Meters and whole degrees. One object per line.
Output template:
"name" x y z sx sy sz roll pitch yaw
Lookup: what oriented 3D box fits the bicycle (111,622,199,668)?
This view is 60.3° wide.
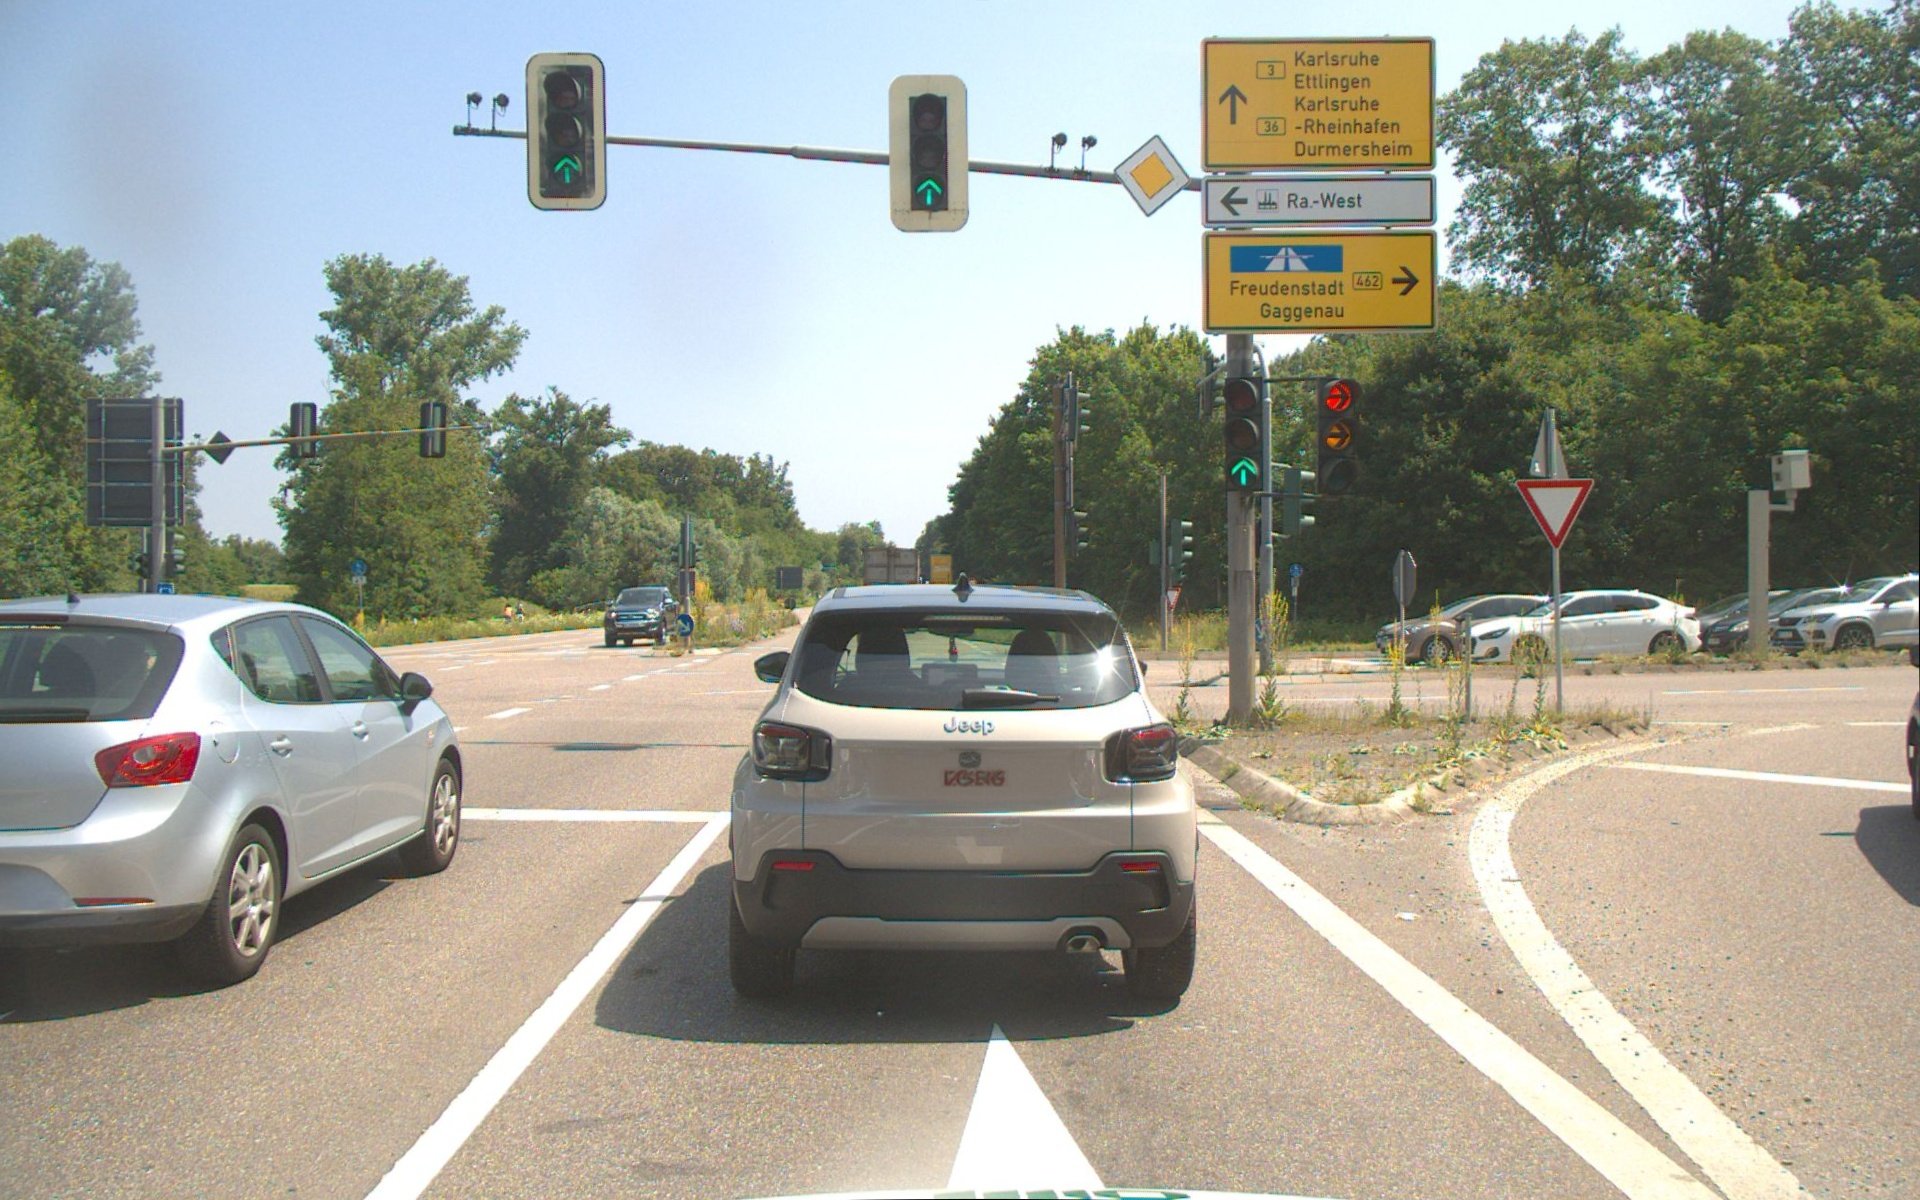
"bicycle" -20.120 1.116 41.371 0.710 1.082 1.863 -1 0 35

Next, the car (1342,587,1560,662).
"car" 10.403 0.505 35.215 4.011 1.472 1.994 -1 0 -4

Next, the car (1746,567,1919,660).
"car" 17.674 0.230 31.864 4.088 1.688 1.999 -1 0 -2

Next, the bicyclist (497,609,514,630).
"bicyclist" -26.362 1.134 95.951 0.741 1.216 0.592 -2 0 9

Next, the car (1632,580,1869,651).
"car" 18.415 0.363 38.662 4.523 1.525 2.111 -1 -1 -2

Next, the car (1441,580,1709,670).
"car" 11.611 0.457 31.399 4.331 1.562 1.999 -1 0 -3

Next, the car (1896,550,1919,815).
"car" 6.880 0.565 9.787 1.720 1.804 4.113 -1 0 21

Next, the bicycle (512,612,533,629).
"bicycle" -26.354 1.224 99.697 0.591 1.023 1.557 -2 0 9

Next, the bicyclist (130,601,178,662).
"bicyclist" -20.159 0.785 41.371 0.908 1.485 0.713 -1 0 36

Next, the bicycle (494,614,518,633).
"bicycle" -26.353 1.365 95.970 0.661 1.022 1.802 -2 0 8

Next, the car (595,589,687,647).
"car" -10.143 0.543 53.012 1.953 1.707 5.364 -2 0 -1

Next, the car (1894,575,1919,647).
"car" 23.341 0.185 35.820 5.025 1.560 2.137 -1 -1 -2

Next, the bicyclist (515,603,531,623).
"bicyclist" -26.329 0.780 99.727 0.719 1.216 0.592 -2 -1 9

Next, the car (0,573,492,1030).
"car" -3.389 0.632 7.201 1.632 1.455 3.827 1 0 -1

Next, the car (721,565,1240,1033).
"car" 0.045 0.663 7.539 1.731 1.561 3.999 0 0 -1

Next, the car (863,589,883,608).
"car" -9.923 -0.161 189.291 1.952 2.049 4.554 -1 0 1

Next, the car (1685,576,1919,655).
"car" 17.961 0.322 34.940 4.330 1.562 2.121 -1 -1 -2

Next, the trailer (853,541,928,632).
"trailer" -3.320 -0.584 80.535 3.314 4.058 10.799 1 0 -2

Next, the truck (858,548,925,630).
"truck" -3.537 -0.518 86.353 3.266 4.058 6.530 1 0 -2

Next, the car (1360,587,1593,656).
"car" 12.062 0.496 38.855 4.831 1.525 2.020 -1 -1 -1
